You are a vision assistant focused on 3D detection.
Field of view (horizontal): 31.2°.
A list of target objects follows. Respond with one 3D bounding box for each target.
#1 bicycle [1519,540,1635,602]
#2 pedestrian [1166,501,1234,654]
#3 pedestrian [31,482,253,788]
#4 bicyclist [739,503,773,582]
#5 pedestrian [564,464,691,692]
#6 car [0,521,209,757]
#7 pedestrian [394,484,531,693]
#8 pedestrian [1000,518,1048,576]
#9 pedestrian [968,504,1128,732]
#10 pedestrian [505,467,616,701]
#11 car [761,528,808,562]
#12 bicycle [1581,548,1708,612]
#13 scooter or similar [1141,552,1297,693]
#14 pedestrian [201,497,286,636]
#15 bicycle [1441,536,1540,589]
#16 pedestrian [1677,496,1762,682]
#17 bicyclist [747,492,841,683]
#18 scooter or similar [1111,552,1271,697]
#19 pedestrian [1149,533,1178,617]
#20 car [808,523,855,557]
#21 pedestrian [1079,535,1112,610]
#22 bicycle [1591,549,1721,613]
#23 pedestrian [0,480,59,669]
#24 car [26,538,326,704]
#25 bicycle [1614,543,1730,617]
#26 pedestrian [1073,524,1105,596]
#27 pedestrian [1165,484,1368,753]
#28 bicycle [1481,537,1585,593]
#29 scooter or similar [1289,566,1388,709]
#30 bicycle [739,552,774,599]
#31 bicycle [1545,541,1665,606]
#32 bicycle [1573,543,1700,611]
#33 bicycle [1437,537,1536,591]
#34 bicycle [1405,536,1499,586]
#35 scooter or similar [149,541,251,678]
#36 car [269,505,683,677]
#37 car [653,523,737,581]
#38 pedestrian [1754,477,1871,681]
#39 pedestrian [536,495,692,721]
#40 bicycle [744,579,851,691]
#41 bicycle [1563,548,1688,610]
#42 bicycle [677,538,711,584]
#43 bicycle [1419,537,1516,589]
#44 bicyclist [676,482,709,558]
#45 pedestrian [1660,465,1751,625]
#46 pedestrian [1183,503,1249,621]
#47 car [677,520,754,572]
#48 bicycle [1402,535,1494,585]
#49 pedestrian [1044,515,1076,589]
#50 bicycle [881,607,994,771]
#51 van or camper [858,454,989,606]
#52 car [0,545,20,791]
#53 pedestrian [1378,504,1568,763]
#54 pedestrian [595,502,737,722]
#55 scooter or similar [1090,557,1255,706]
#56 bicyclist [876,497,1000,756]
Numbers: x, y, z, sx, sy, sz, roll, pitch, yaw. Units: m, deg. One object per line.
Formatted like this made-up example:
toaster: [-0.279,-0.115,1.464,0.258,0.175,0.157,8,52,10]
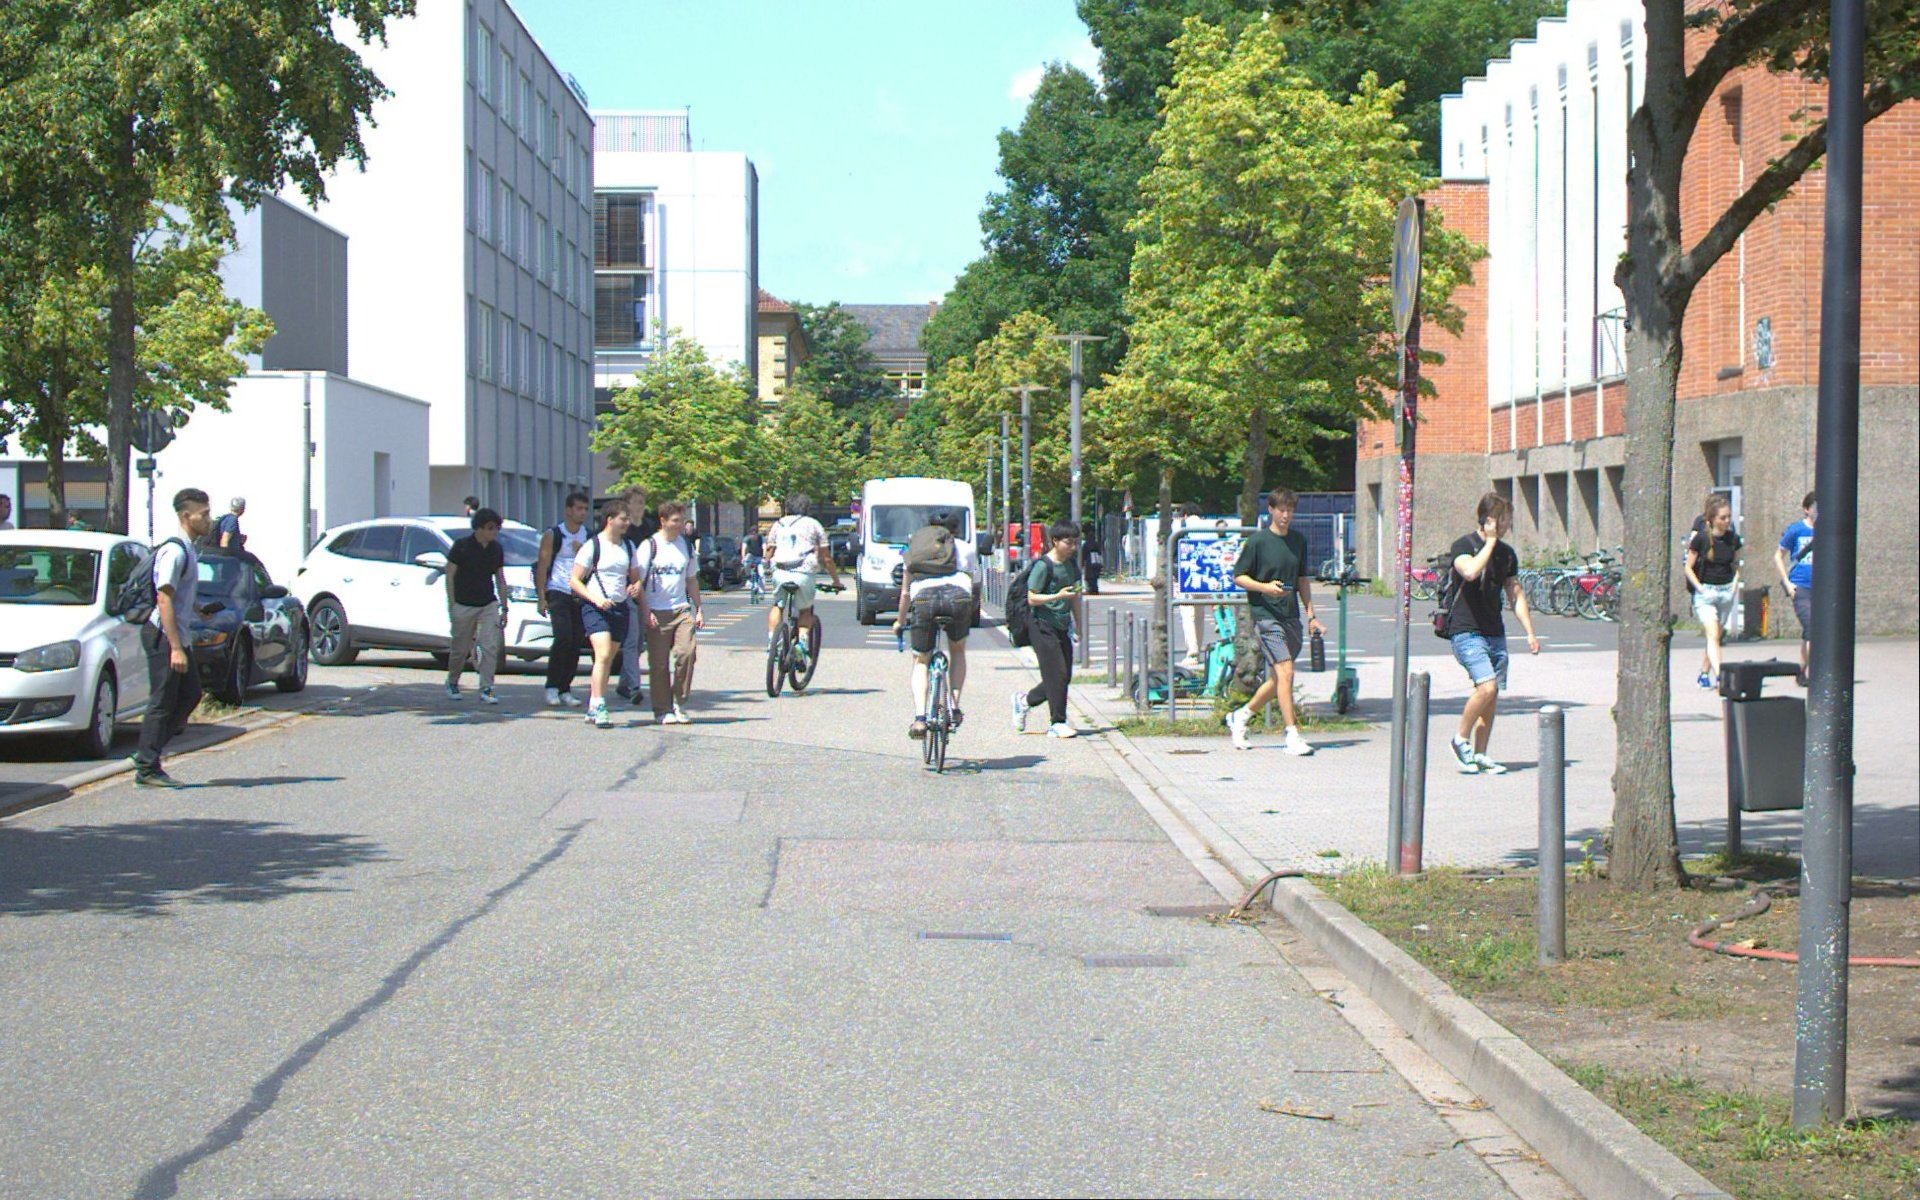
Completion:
bicycle: [10.295,-0.488,57.384,1.809,0.981,0.560,-2,1,-1]
pedestrian: [2.725,-0.266,39.079,0.702,1.688,0.962,0,3,0]
pedestrian: [-4.741,0.196,19.979,1.105,1.710,0.710,2,1,-5]
bicyclist: [-4.396,-1.249,74.112,0.667,1.676,0.993,-1,1,-5]
pedestrian: [-2.947,-0.197,30.473,0.827,1.973,0.691,2,0,22]
car: [-6.239,0.195,22.964,1.662,1.407,3.807,1,1,-1]
pedestrian: [-4.316,-0.101,29.885,0.802,1.766,0.853,2,0,22]
pedestrian: [2.305,-1.920,124.071,1.499,1.989,1.646,-3,2,-2]
pedestrian: [0.679,0.129,26.686,0.702,1.714,0.993,-3,2,-42]
pedestrian: [-3.438,-0.136,29.574,0.616,1.973,0.829,-1,0,-32]
car: [-8.193,-2.584,160.773,1.795,1.525,4.000,0,1,3]
bicycle: [10.401,-0.307,52.258,1.809,0.909,0.560,-1,1,-1]
scooter or similar: [2.363,0.196,31.387,1.263,1.260,0.638,0,1,31]
pedestrian: [-9.272,-0.435,44.486,0.982,1.779,0.669,0,0,-3]
bicycle: [10.385,-0.740,67.321,1.809,0.981,0.560,-2,1,-1]
pedestrian: [6.749,-0.103,30.576,0.501,1.625,0.571,-2,1,-10]
bicyclist: [-1.544,-0.126,32.115,0.771,1.750,0.848,1,1,3]
scooter or similar: [2.052,0.207,30.571,1.263,1.260,0.649,0,1,31]
pedestrian: [4.505,-0.555,76.143,0.576,1.853,0.570,-1,1,-3]
car: [-5.991,-2.814,160.576,1.795,1.525,4.000,0,1,3]
pedestrian: [3.412,-0.699,86.812,0.790,1.853,1.026,0,1,0]
bicycle: [10.397,-0.284,51.403,1.809,0.909,0.560,-1,1,-1]
pedestrian: [-10.099,-0.282,35.496,1.015,1.897,1.178,5,-2,-40]
car: [-6.611,0.133,29.373,1.645,1.296,3.928,-1,1,0]
bicycle: [10.237,-0.294,49.467,1.535,1.029,0.560,-1,1,-1]
pedestrian: [3.352,-1.048,89.584,0.790,1.853,1.026,0,1,0]
pedestrian: [2.168,0.129,24.350,0.852,1.853,1.115,-1,0,-44]
bicycle: [10.656,-0.654,63.956,1.809,0.981,0.560,-2,1,-1]
scooter or similar: [3.204,0.303,29.029,0.649,1.156,1.264,0,1,15]
bicycle: [-4.392,-0.522,74.159,0.677,0.961,2.003,2,-1,-4]
bicycle: [10.413,-0.430,55.515,1.809,0.981,0.560,-2,1,-1]
bicycle: [10.410,-0.356,52.906,1.809,0.981,0.560,-2,1,-1]
bicycle: [10.177,-0.701,66.488,1.809,0.981,0.560,-2,1,-1]
bicycle: [10.067,-0.799,70.358,1.809,0.981,0.560,-2,1,-1]
scooter or similar: [-7.449,0.085,33.733,0.504,1.295,1.215,-1,2,11]
car: [-5.203,-0.119,36.604,4.517,1.613,1.919,3,0,44]
car: [-7.277,-1.339,94.760,1.795,1.525,4.000,0,1,3]
pedestrian: [7.635,-0.192,30.814,0.708,1.781,0.753,-2,1,-10]
pedestrian: [-2.713,0.061,26.953,0.982,1.733,0.699,0,1,38]
bicycle: [-1.501,0.311,32.068,0.808,0.999,2.123,1,0,2]
bicycle: [10.383,-0.332,53.663,1.809,0.909,0.560,-2,1,-1]
bicycle: [-5.632,-0.828,72.870,0.677,0.961,2.003,0,1,-3]
bicycle: [10.041,-0.738,68.021,1.809,0.981,0.560,-2,1,-1]
bicyclist: [-5.677,-1.707,73.051,0.643,1.596,0.909,-1,1,-3]
pedestrian: [8.769,-0.648,40.482,0.790,1.853,1.116,-1,1,-2]
pedestrian: [3.809,-0.569,51.231,0.853,1.727,1.160,0,1,-1]
car: [-7.253,-1.618,102.171,1.795,1.525,4.000,0,1,3]
bicycle: [10.121,-0.824,71.321,1.809,0.981,0.560,-2,1,-1]
pedestrian: [2.531,-1.210,87.078,0.790,1.853,1.243,0,1,0]
bicycle: [-0.162,0.572,22.979,0.706,0.990,1.911,1,1,-1]
van or camper: [-0.579,-1.152,58.106,1.993,2.437,4.569,-1,0,2]
car: [-6.099,0.389,16.955,1.725,1.339,4.165,2,1,0]
pedestrian: [3.264,0.199,21.866,0.848,1.589,0.830,-3,2,-44]
pedestrian: [-2.355,0.080,27.513,0.908,1.733,0.677,1,2,38]
scooter or similar: [1.842,0.261,29.828,1.263,1.260,0.649,0,1,31]
bicyclist: [-0.156,0.160,22.937,0.717,1.656,1.095,2,1,-3]
